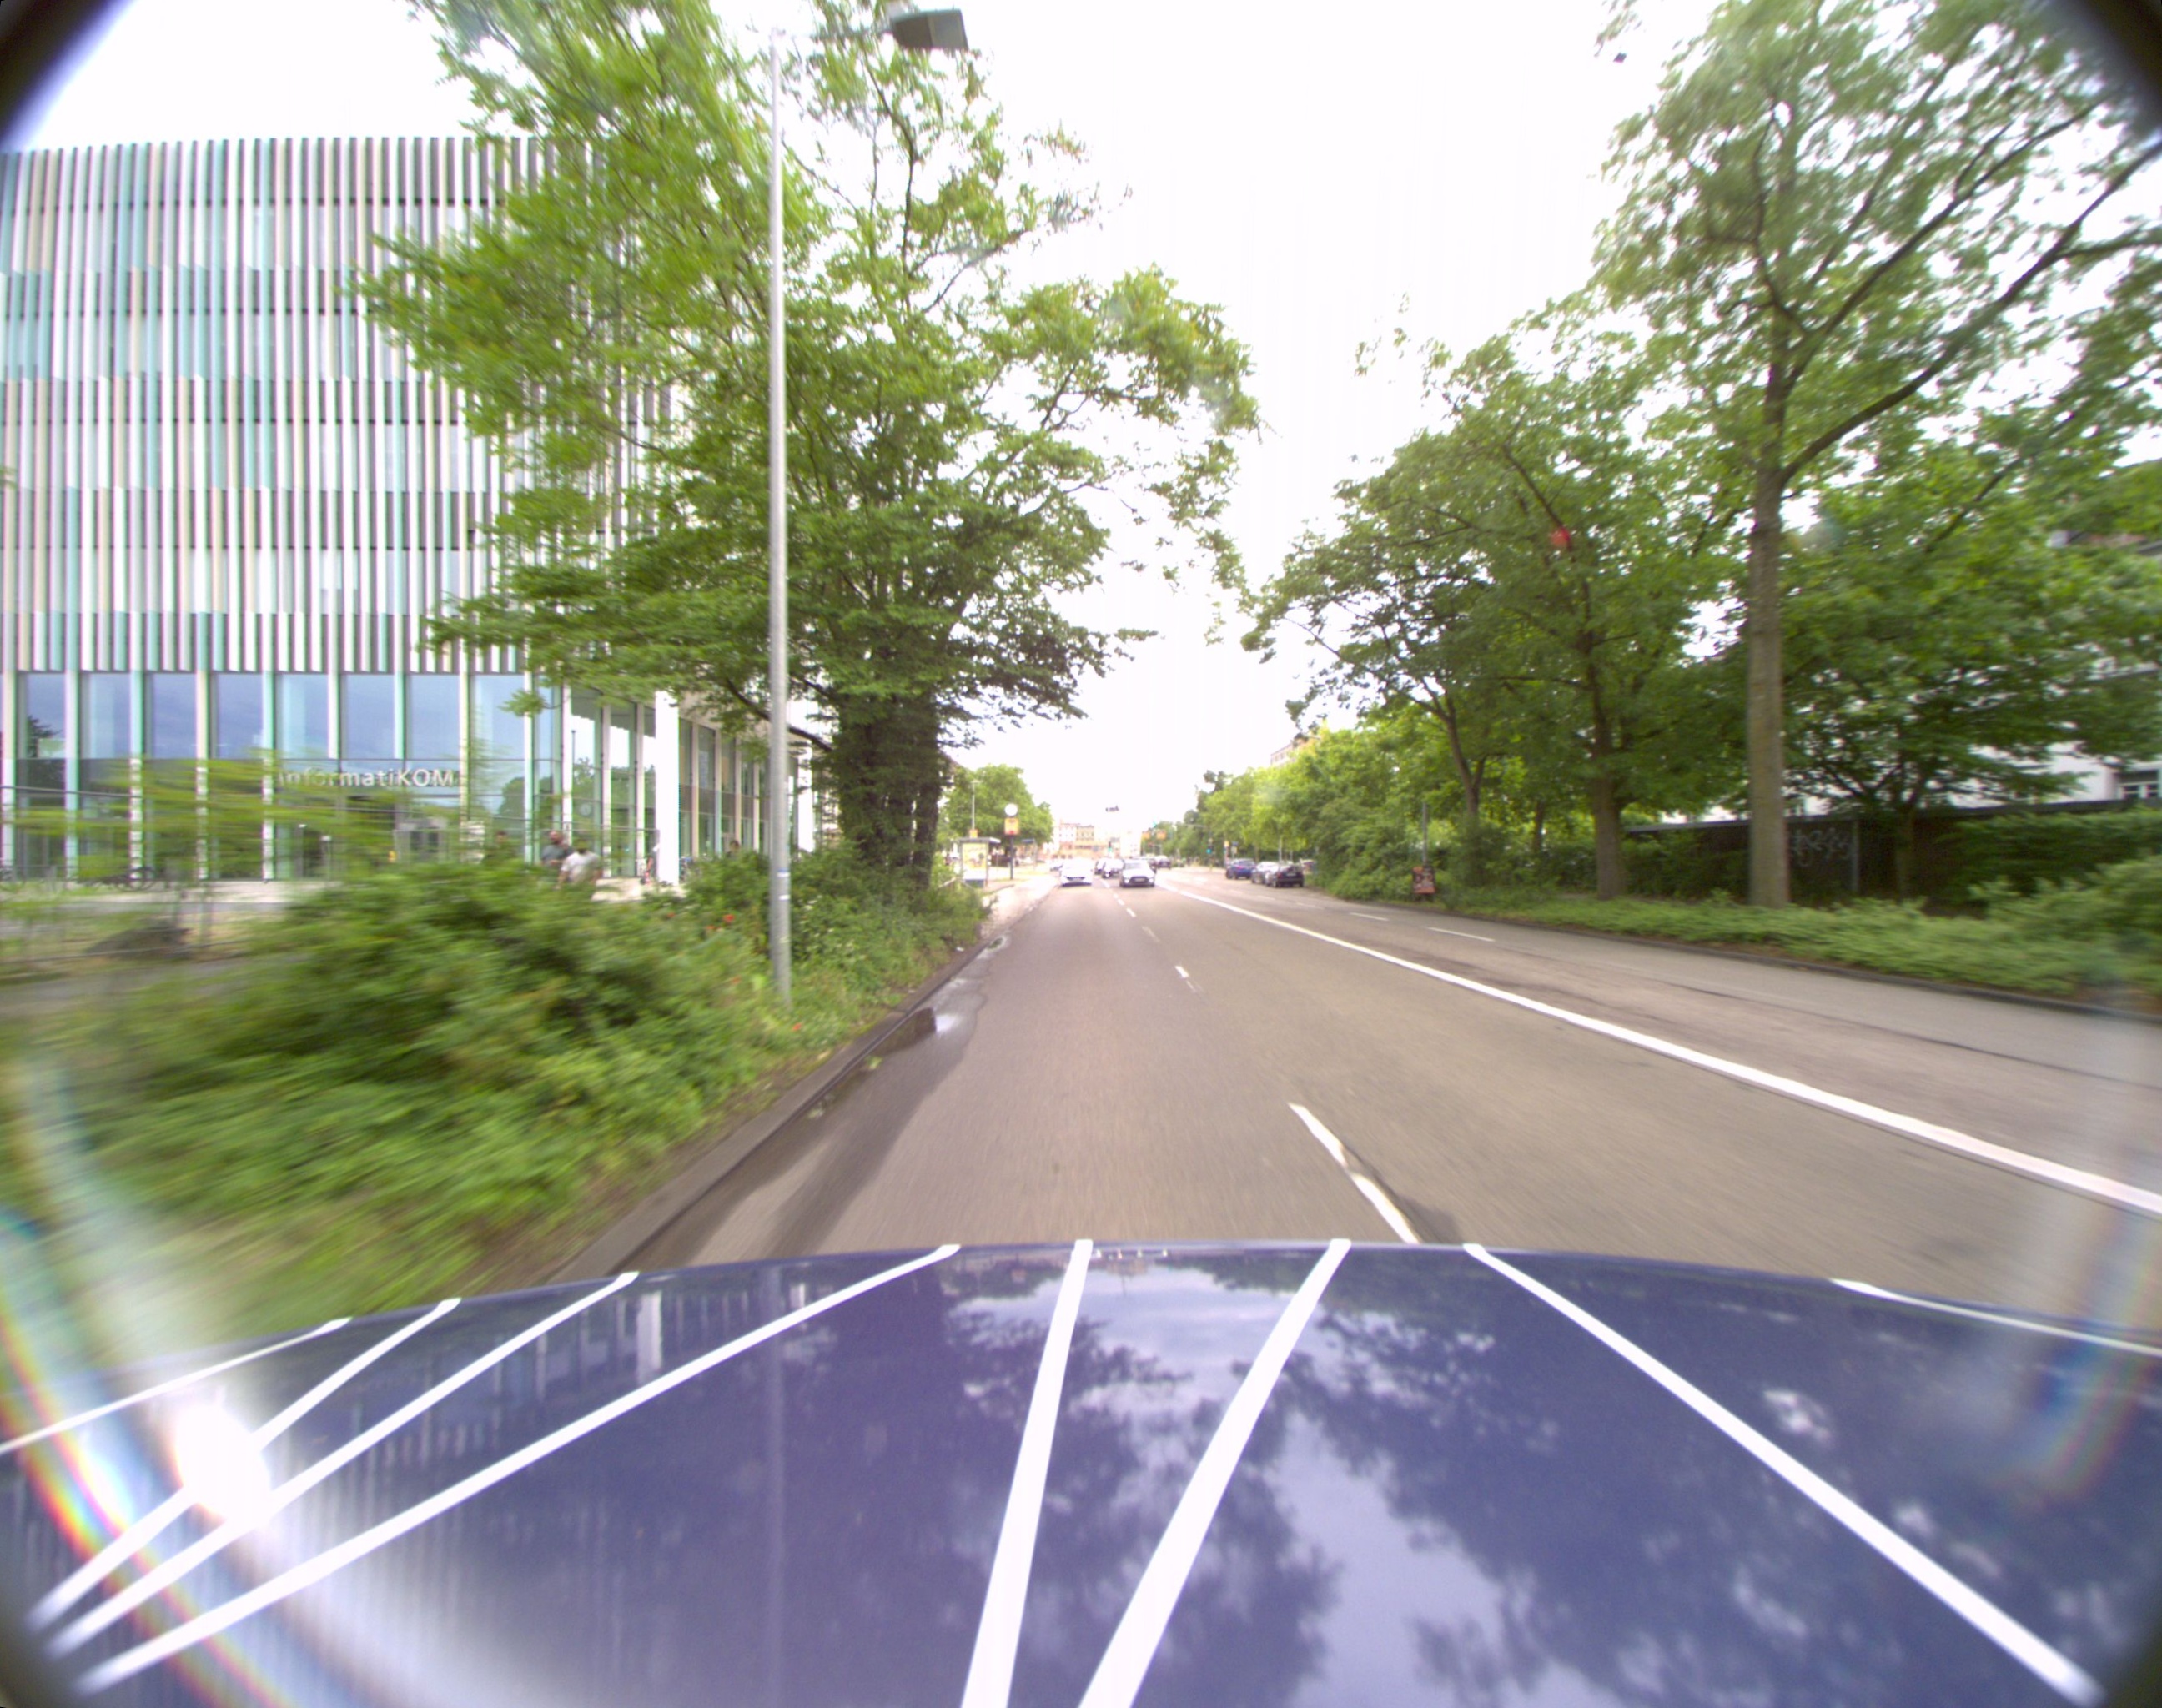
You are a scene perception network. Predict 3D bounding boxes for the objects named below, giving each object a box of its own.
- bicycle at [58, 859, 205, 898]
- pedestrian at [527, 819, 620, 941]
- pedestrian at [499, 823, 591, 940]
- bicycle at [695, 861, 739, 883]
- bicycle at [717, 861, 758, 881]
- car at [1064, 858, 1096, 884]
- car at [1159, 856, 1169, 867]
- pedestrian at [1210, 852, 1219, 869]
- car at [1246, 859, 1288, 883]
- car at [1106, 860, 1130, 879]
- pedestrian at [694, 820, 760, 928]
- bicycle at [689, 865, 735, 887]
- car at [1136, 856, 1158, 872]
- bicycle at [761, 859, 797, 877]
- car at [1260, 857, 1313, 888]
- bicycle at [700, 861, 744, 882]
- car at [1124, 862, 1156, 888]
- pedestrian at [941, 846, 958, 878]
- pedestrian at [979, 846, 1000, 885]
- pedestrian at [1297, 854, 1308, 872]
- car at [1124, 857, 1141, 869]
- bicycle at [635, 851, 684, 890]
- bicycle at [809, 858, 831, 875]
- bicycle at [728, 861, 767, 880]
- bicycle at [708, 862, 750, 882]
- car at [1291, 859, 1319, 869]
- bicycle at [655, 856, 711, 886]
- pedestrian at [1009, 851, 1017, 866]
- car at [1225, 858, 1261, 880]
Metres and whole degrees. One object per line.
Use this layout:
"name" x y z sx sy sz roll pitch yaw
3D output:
"bicycle" -29.908 0.737 24.041 1.032 1.123 2.792 1 0 5
"pedestrian" -8.678 0.434 13.049 0.928 2.002 1.039 1 0 -4
"pedestrian" -9.570 0.479 13.611 0.928 2.002 1.039 1 0 -4
"bicycle" -15.497 0.770 32.386 1.610 0.869 0.556 1 0 1
"bicycle" -15.897 0.794 35.184 1.610 0.869 0.556 1 0 1
"car" -0.025 0.997 46.440 1.813 1.532 4.000 0 0 1
"car" 15.049 1.290 137.518 1.775 1.837 4.491 -2 0 6
"pedestrian" 15.802 0.801 90.045 0.896 2.002 1.009 0 0 -1
"car" 12.296 1.105 50.460 1.878 1.416 4.730 -3 0 4
"car" 2.911 1.176 58.834 1.731 1.450 4.001 0 0 4
"pedestrian" -6.758 0.380 14.536 0.845 2.002 0.894 0 0 -1
"bicycle" -15.246 0.897 31.424 1.610 0.869 0.556 1 0 1
"car" 6.580 1.002 76.279 1.907 1.584 4.516 1 0 0
"bicycle" -15.276 0.699 38.467 1.610 0.869 0.556 1 0 1
"car" 11.976 1.017 44.454 1.998 1.679 4.000 -2 0 0
"bicycle" -15.573 0.762 32.974 1.610 0.869 0.556 1 0 1
"car" 3.188 1.081 41.156 1.624 1.310 3.707 0 0 4
"pedestrian" -8.222 0.501 47.543 0.844 2.002 0.894 2 0 2
"pedestrian" -4.861 0.623 40.475 0.914 2.001 0.854 2 -2 -1
"pedestrian" 26.028 1.055 89.256 0.796 2.002 1.096 0 0 -16
"car" 6.865 1.188 101.782 1.998 1.538 4.180 2 0 0
"bicycle" -15.344 0.590 27.649 1.649 1.325 0.463 3 1 13
"bicycle" -16.149 0.757 47.094 1.200 1.043 0.434 1 0 7
"bicycle" -15.867 0.783 36.142 1.607 0.879 0.516 0 0 0
"bicycle" -15.727 0.797 33.993 1.610 0.869 0.556 1 0 1
"car" 32.914 1.427 111.671 3.593 1.441 1.863 -1 0 0
"bicycle" -15.403 0.649 29.428 1.799 1.075 0.626 2 0 -1
"pedestrian" -8.895 0.550 99.552 0.844 2.002 0.894 0 0 2
"car" 12.527 1.111 58.991 1.863 1.598 4.593 -2 0 2
